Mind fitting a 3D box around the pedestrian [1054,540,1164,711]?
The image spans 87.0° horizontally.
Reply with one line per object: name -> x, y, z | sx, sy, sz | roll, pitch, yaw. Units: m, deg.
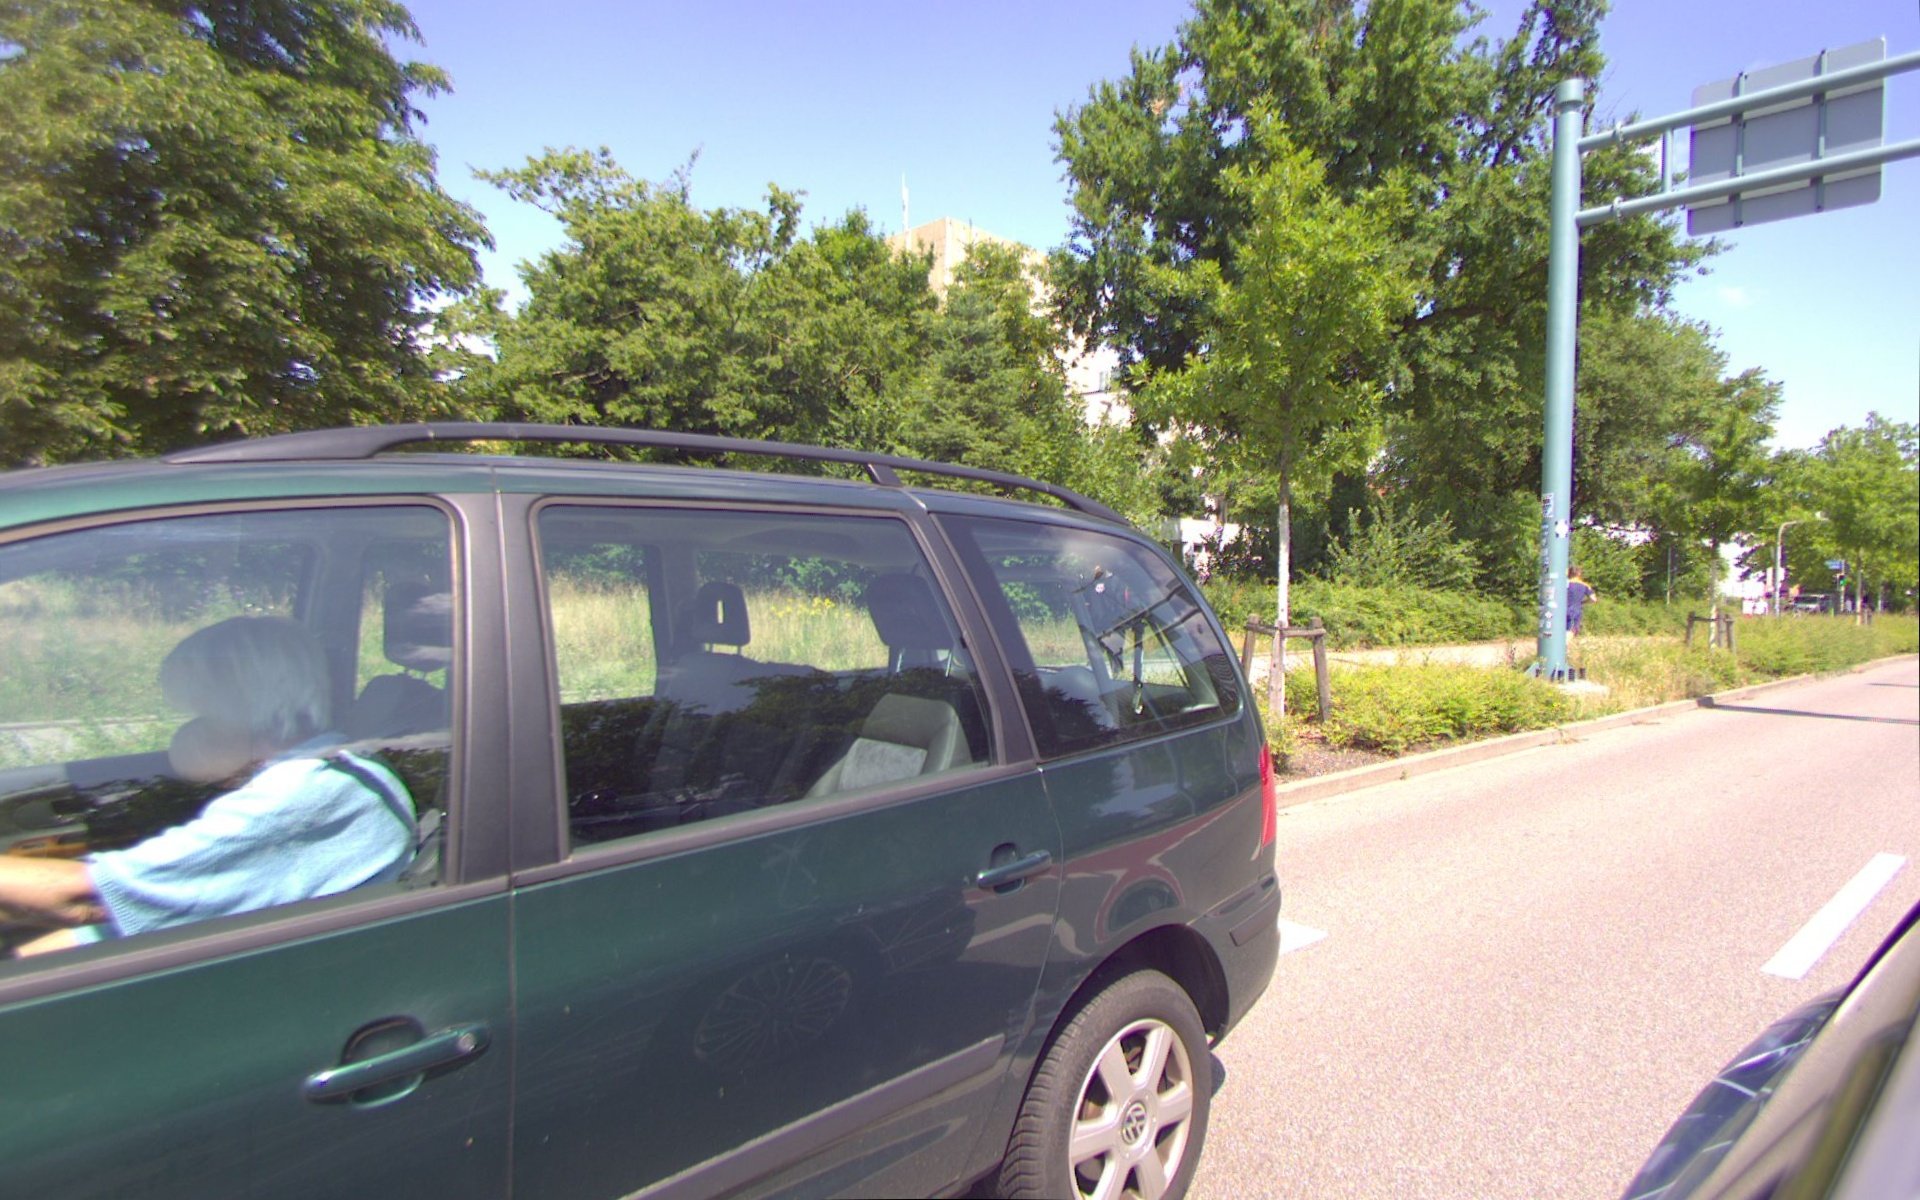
pedestrian -> 1.555, 0.249, 10.610 | 0.799, 1.705, 0.762 | 1, 1, -29

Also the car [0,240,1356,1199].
car -> -1.147, 0.527, 1.975 | 4.315, 1.737, 1.804 | 0, -1, -41

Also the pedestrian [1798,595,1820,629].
pedestrian -> 42.385, 0.592, 50.517 | 0.752, 1.630, 0.765 | 1, 1, -45

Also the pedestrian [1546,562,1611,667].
pedestrian -> 10.874, 0.247, 17.784 | 0.869, 1.787, 0.640 | 1, 1, -35

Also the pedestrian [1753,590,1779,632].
pedestrian -> 40.137, 0.554, 50.381 | 0.839, 2.063, 0.892 | 1, 0, 30
